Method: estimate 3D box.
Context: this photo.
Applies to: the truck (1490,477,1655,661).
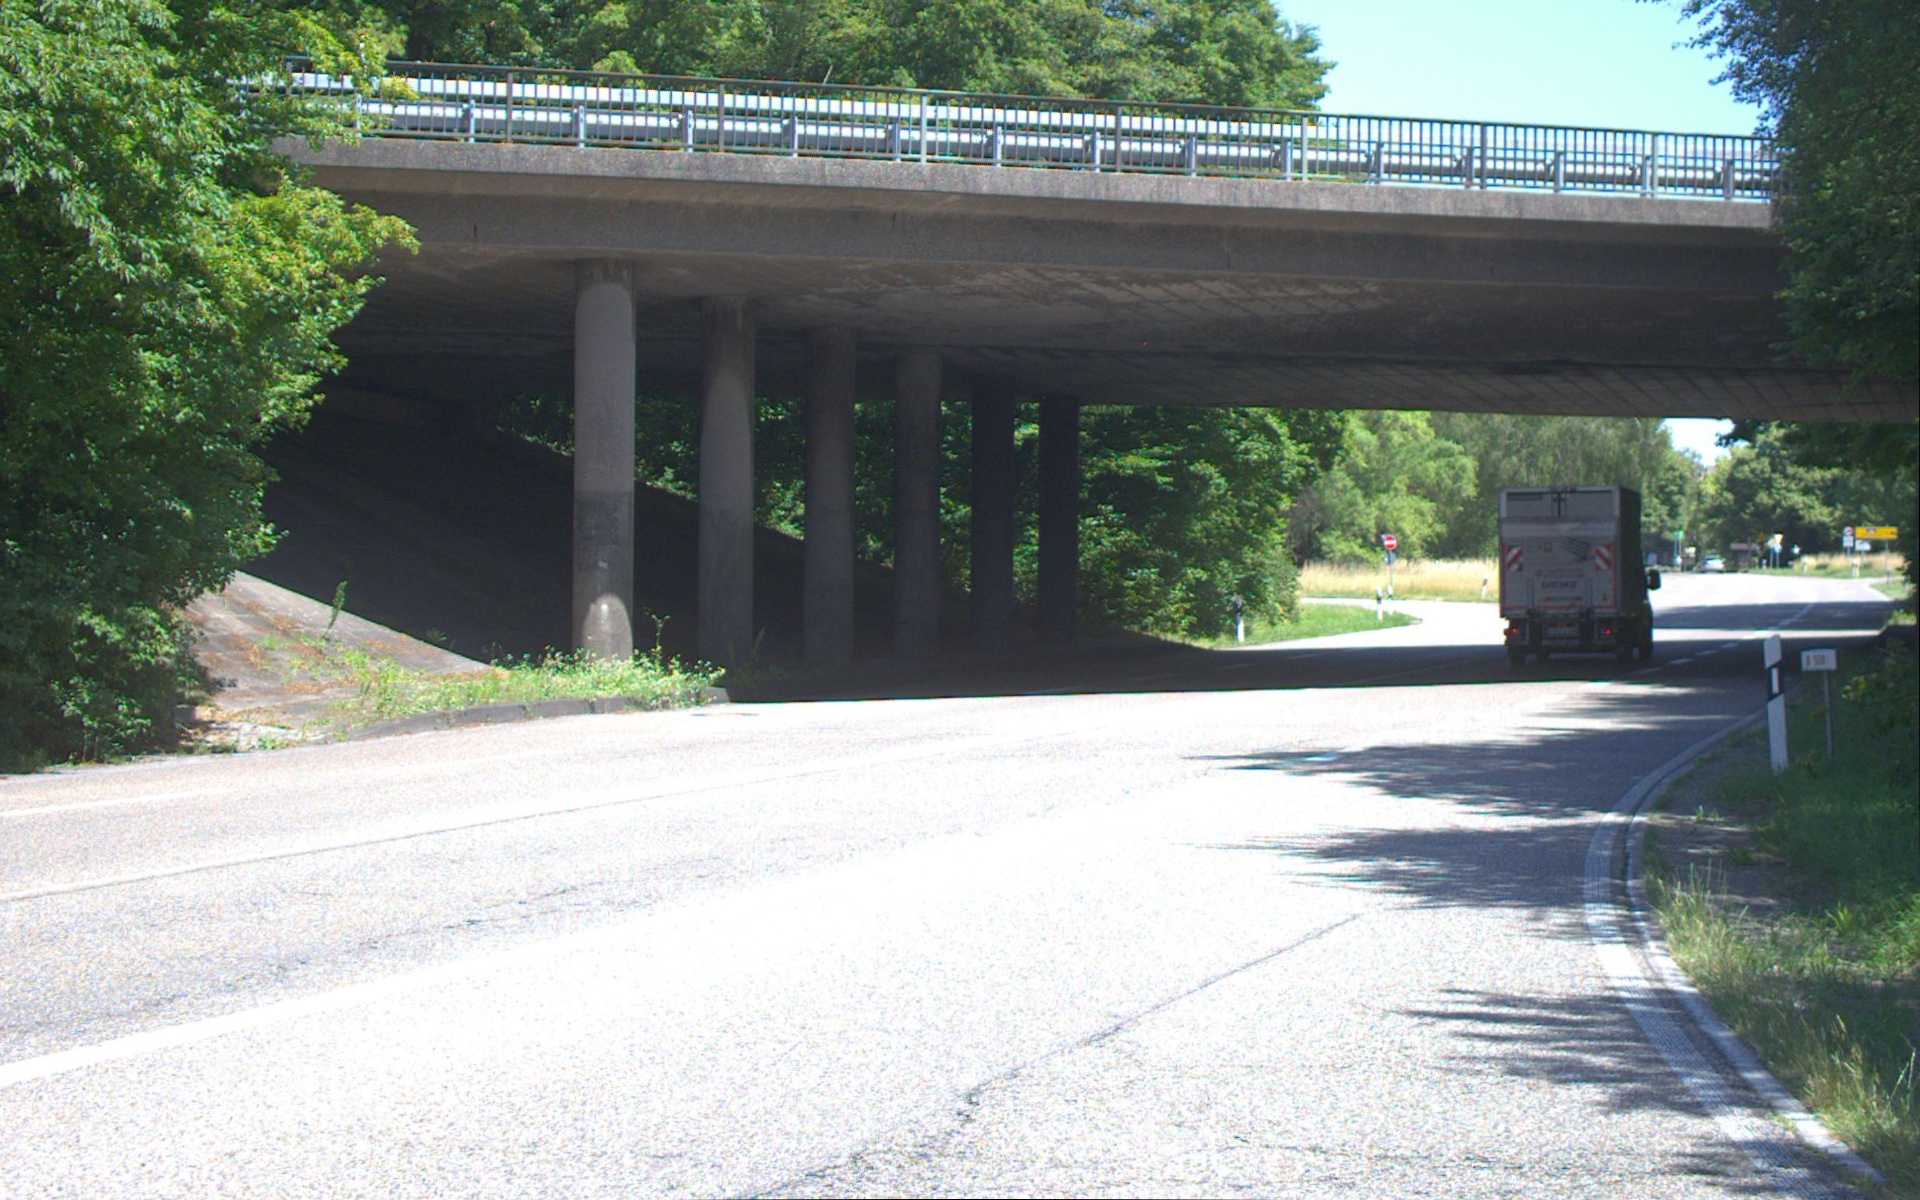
[{"bbox_3d":[10.543,-0.514,58.878,2.242,2.974,5.890,0,0,15],"label":"truck"}]
